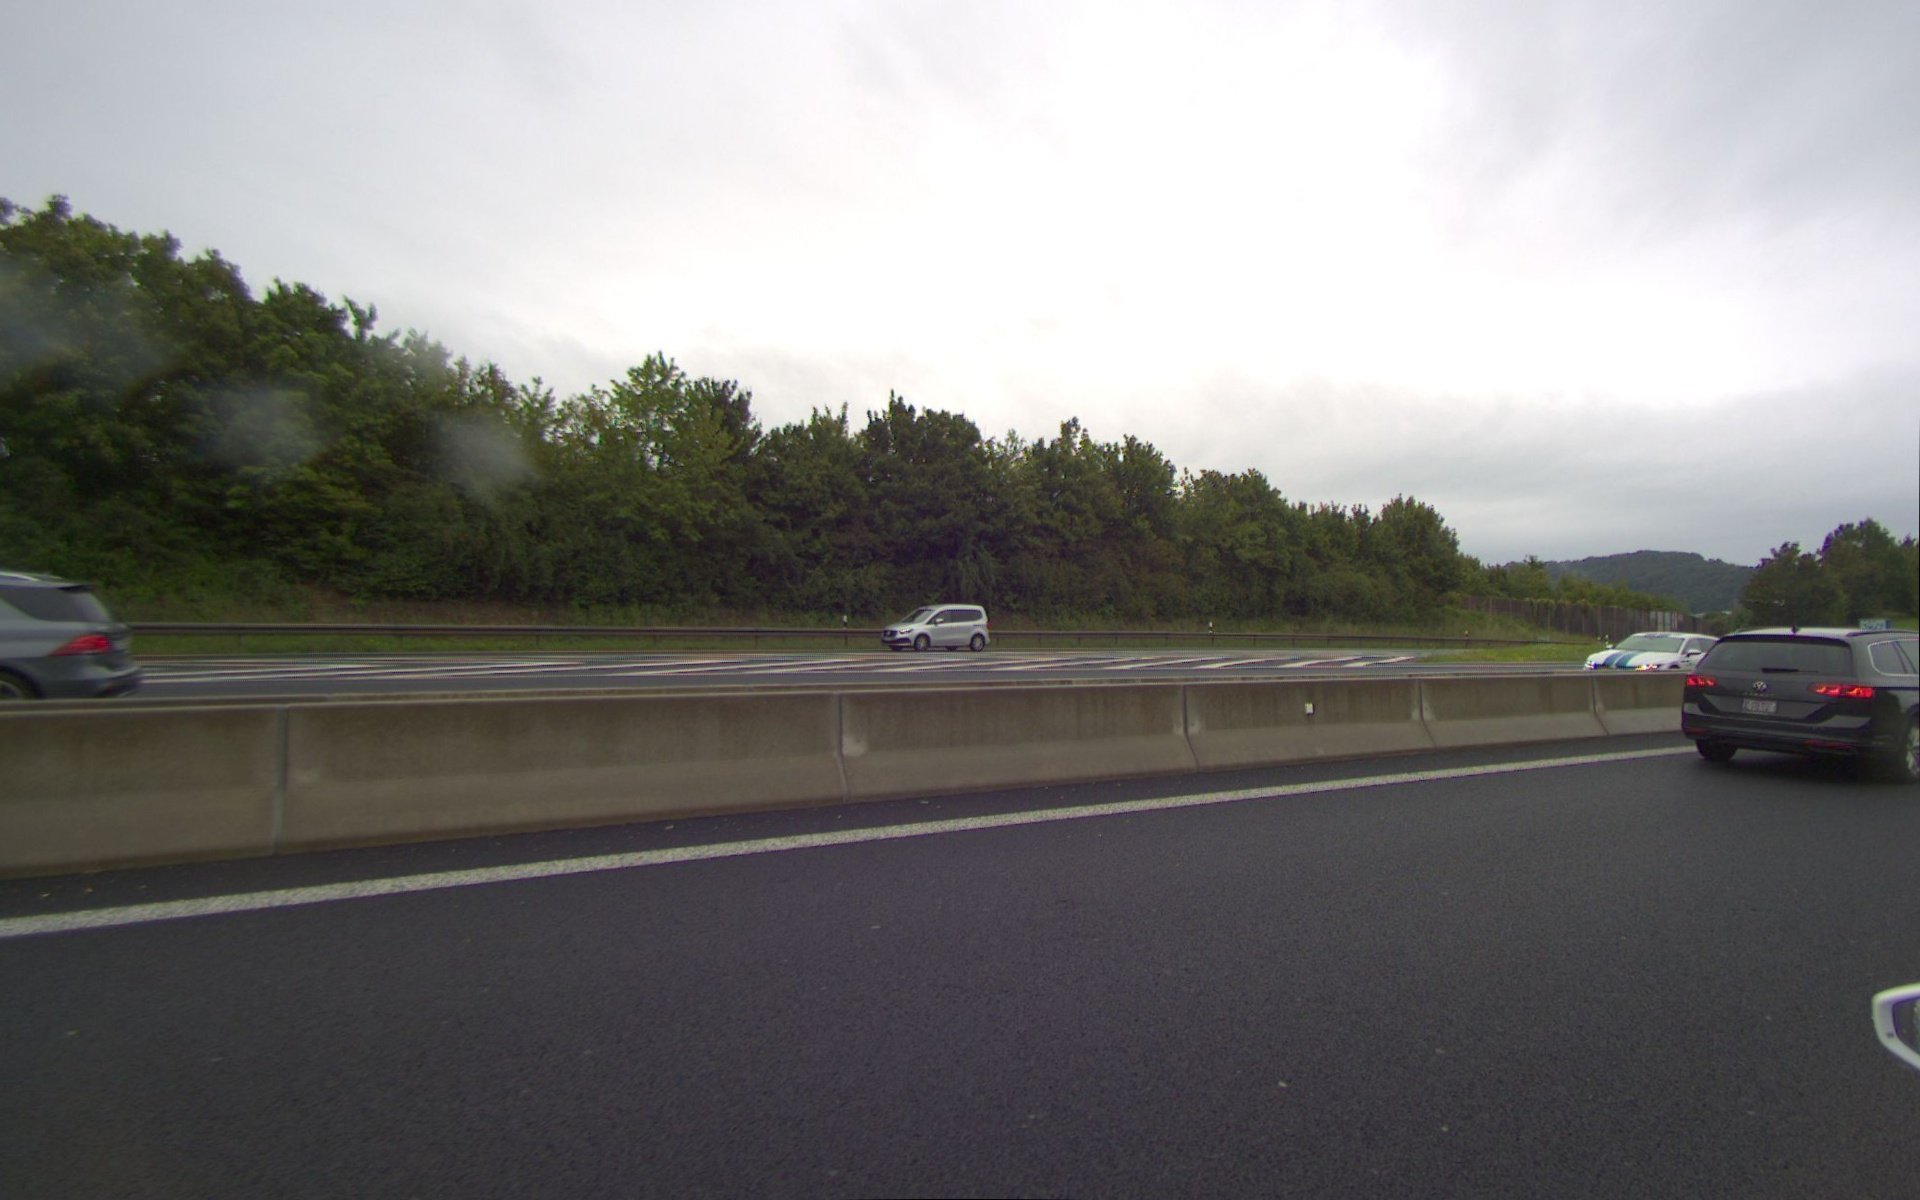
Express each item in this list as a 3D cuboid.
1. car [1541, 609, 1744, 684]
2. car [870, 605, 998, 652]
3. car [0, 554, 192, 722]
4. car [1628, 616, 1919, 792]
[{"bbox_3d":[17.045,1.116,25.053,4.802,1.718,2.172,1,-1,-27],"label":"car"},{"bbox_3d":[-0.972,1.090,38.708,4.528,1.718,2.163,1,-1,-38],"label":"car"},{"bbox_3d":[-11.312,0.368,10.644,4.671,1.718,2.172,1,-1,-27],"label":"car"},{"bbox_3d":[9.464,0.984,10.771,4.794,1.517,1.892,2,-1,-30],"label":"car"}]
